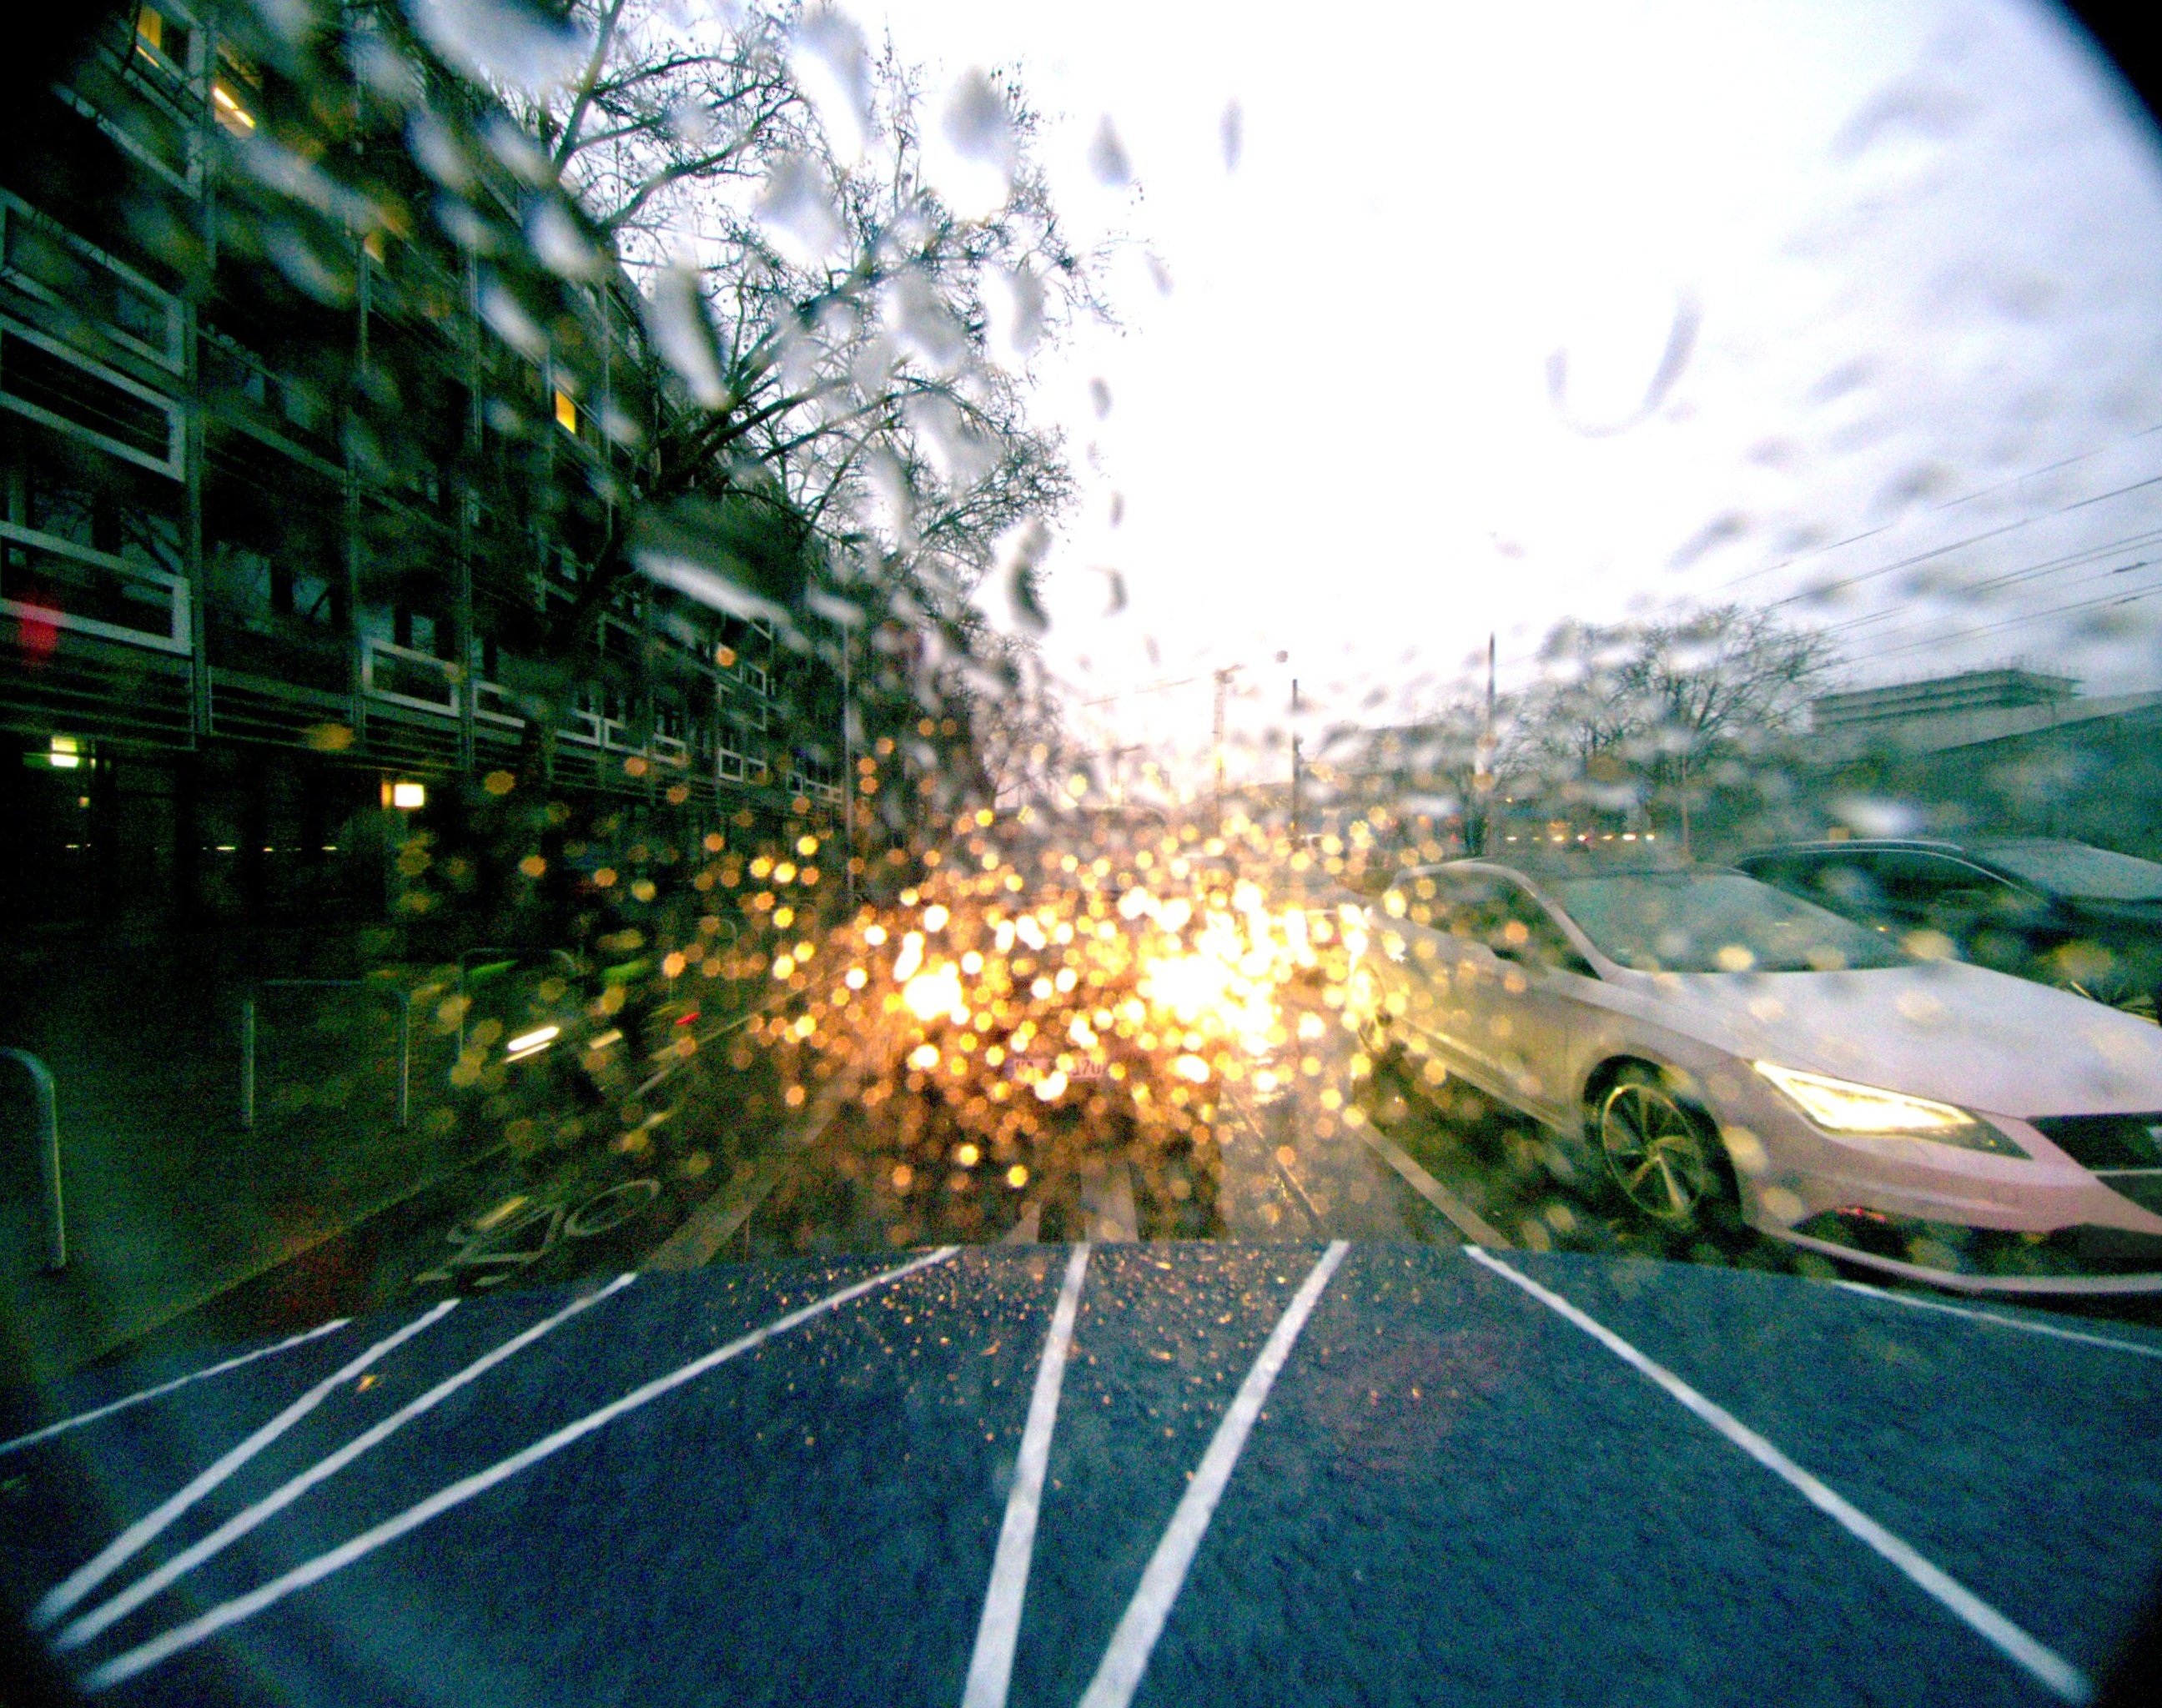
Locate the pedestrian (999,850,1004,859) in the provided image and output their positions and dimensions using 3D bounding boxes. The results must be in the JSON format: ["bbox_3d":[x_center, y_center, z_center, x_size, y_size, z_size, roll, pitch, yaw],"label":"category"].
[{"bbox_3d":[-14.838,0.053,141.607,0.766,1.740,0.928,0,1,-4],"label":"pedestrian"}]

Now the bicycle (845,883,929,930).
[{"bbox_3d":[-4.488,1.206,17.654,1.704,0.987,0.879,1,1,0],"label":"bicycle"}]

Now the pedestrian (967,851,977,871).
[{"bbox_3d":[-9.380,0.603,65.173,0.766,1.740,0.928,0,1,-4],"label":"pedestrian"}]

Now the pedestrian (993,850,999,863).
[{"bbox_3d":[-12.005,0.359,107.188,0.766,1.740,0.928,0,1,-4],"label":"pedestrian"}]

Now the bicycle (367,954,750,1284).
[{"bbox_3d":[-2.493,1.187,3.951,0.710,1.088,1.784,-1,0,1],"label":"bicycle"}]

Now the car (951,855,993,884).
[{"bbox_3d":[-6.158,0.836,43.415,1.713,1.455,3.999,-2,1,1],"label":"car"}]

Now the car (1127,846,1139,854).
[{"bbox_3d":[12.722,-0.968,186.207,2.095,1.884,3.997,-1,1,-7],"label":"car"}]

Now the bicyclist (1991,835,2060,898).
[{"bbox_3d":[27.063,0.336,21.794,0.763,1.723,0.961,-2,2,-2],"label":"bicyclist"}]

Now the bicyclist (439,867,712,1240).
[{"bbox_3d":[-2.492,0.901,3.877,0.704,1.650,0.964,-1,0,1],"label":"bicyclist"}]

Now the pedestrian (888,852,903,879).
[{"bbox_3d":[-11.897,0.724,48.707,0.766,1.740,0.928,0,1,-4],"label":"pedestrian"}]

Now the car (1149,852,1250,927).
[{"bbox_3d":[2.847,0.795,19.102,1.907,1.565,3.999,-2,1,1],"label":"car"}]

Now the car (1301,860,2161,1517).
[{"bbox_3d":[2.985,0.839,4.166,1.949,1.478,4.504,-2,0,-4],"label":"car"}]

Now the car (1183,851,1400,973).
[{"bbox_3d":[2.903,0.700,11.620,1.999,1.478,4.504,-1,0,-1],"label":"car"}]

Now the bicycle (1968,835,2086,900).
[{"bbox_3d":[27.070,0.343,21.802,0.763,1.723,2.063,-2,2,-2],"label":"bicycle"}]

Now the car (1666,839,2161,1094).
[{"bbox_3d":[7.357,0.650,5.982,1.853,1.499,4.662,-1,1,-1],"label":"car"}]

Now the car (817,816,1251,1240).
[{"bbox_3d":[-0.257,0.760,5.420,1.878,1.830,3.999,-2,1,-2],"label":"car"}]
